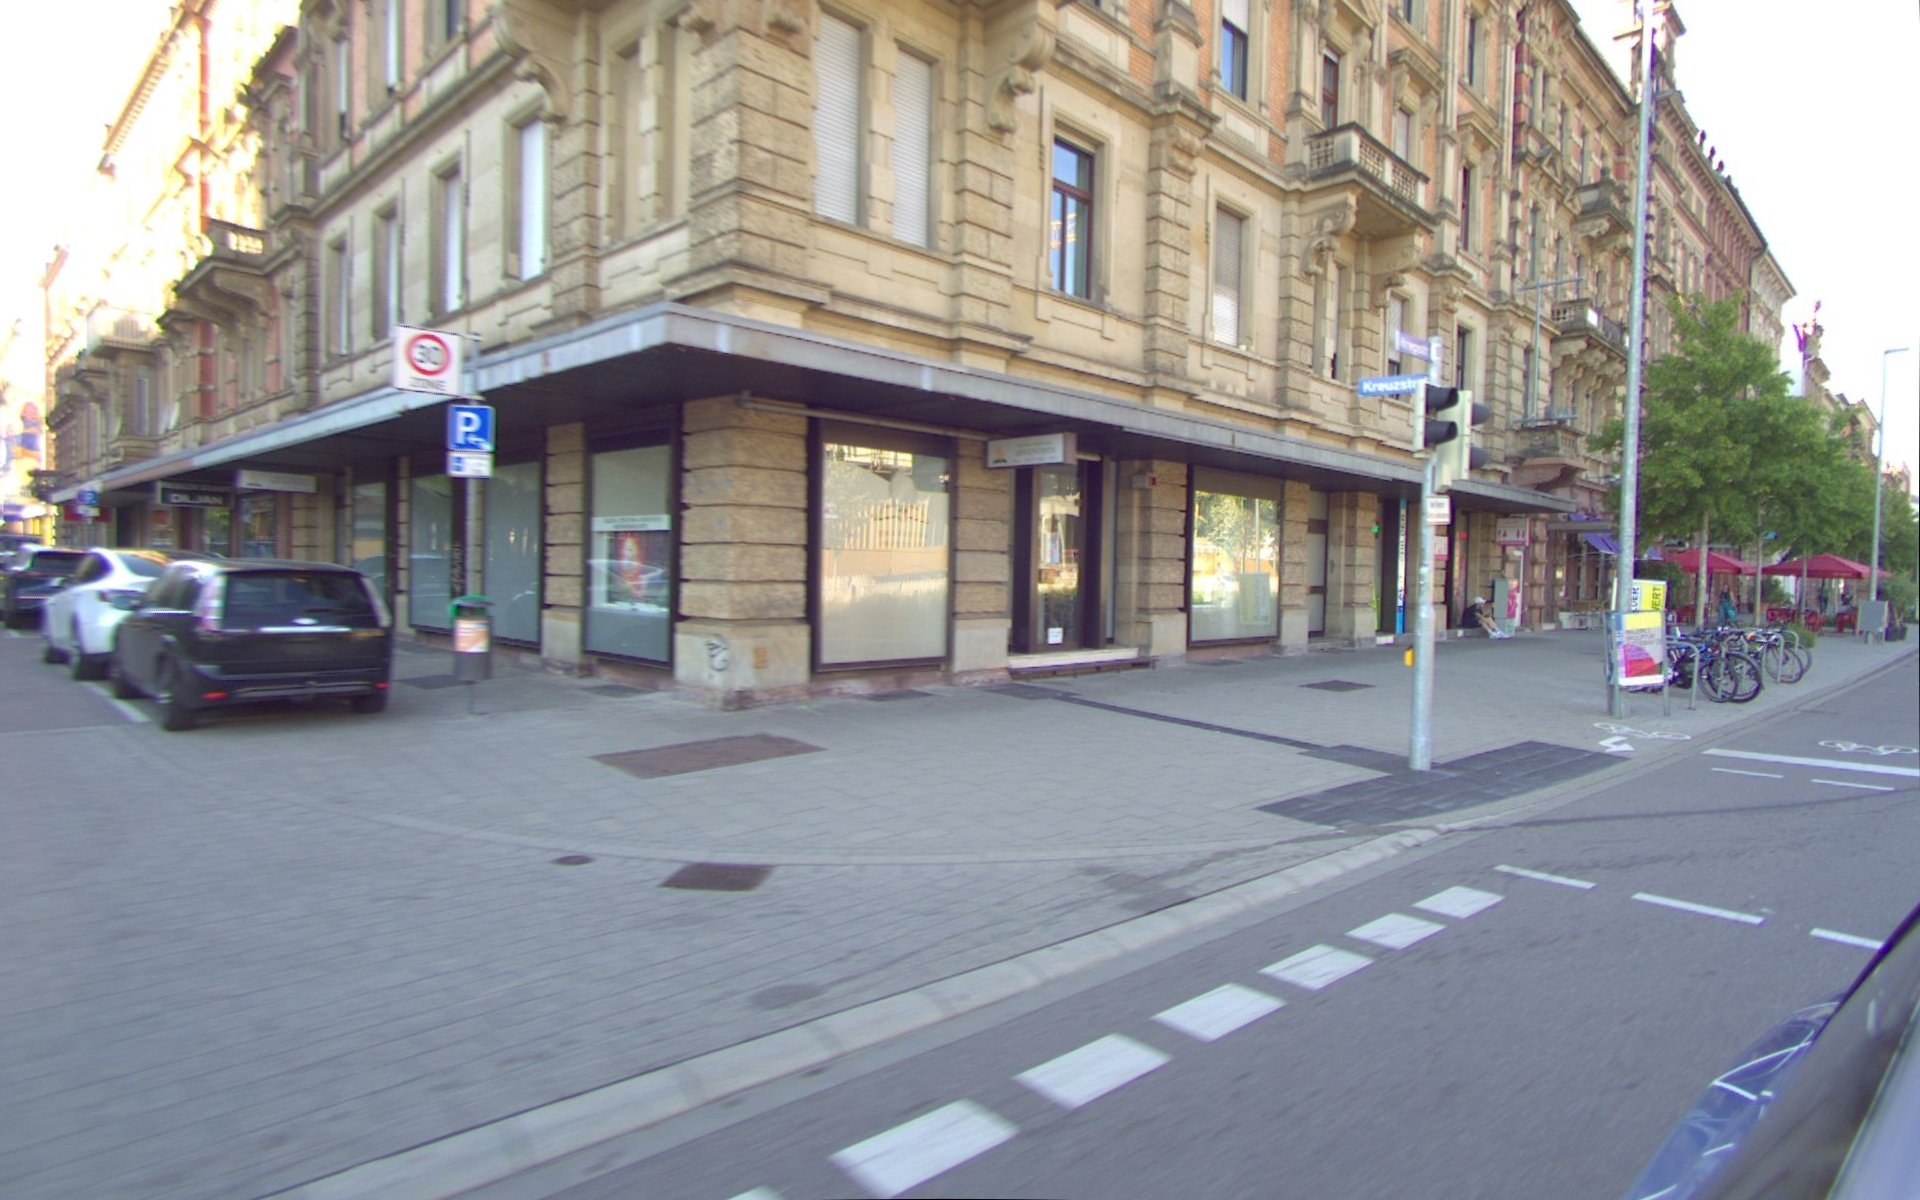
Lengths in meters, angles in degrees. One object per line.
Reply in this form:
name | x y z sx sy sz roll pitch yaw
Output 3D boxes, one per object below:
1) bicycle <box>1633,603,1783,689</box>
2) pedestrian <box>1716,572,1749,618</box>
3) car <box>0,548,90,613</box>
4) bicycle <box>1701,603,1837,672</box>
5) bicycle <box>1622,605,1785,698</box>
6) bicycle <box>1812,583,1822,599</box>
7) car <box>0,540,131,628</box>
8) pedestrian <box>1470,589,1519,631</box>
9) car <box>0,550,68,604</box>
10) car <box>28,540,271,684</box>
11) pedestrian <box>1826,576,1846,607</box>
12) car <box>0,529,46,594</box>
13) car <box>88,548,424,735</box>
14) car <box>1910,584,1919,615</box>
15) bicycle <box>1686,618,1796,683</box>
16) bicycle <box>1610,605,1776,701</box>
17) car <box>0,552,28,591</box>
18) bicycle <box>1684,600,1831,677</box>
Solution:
bicycle | 11.442 0.673 15.533 0.497 1.117 1.727 0 4 -37
pedestrian | 26.696 -0.179 34.982 0.784 1.552 0.729 -1 4 -44
car | -23.022 -0.520 24.978 4.190 1.500 1.835 2 3 42
bicycle | 14.806 0.659 18.565 0.556 1.060 1.811 0 4 -37
bicycle | 10.640 0.702 14.540 0.497 1.117 1.759 0 4 -37
bicycle | 58.829 -0.631 69.490 2.039 1.046 0.343 -1 2 -45
car | -18.843 -0.382 21.028 4.437 1.644 1.849 2 3 42
pedestrian | 13.031 0.239 24.692 0.790 0.974 0.815 0 2 -42
car | -26.296 -0.672 28.138 3.856 1.408 1.835 2 3 42
car | -10.938 0.045 13.540 4.538 1.615 1.835 2 3 42
pedestrian | 51.595 -0.495 59.619 1.054 1.776 0.748 -1 3 -44
car | -30.095 -1.195 31.630 4.038 1.952 1.835 2 3 42
car | -7.116 0.246 10.058 4.259 1.467 1.835 2 3 42
car | 51.646 0.008 53.444 4.225 1.583 1.851 -1 4 -44
bicycle | 12.610 0.794 16.359 0.497 0.887 1.279 0 4 -37
bicycle | 10.204 0.706 14.156 0.497 1.117 1.759 0 4 -37
car | -34.501 -1.028 35.827 4.054 1.347 1.835 2 3 42
bicycle | 13.757 0.640 17.510 0.556 1.117 1.850 0 4 -37
